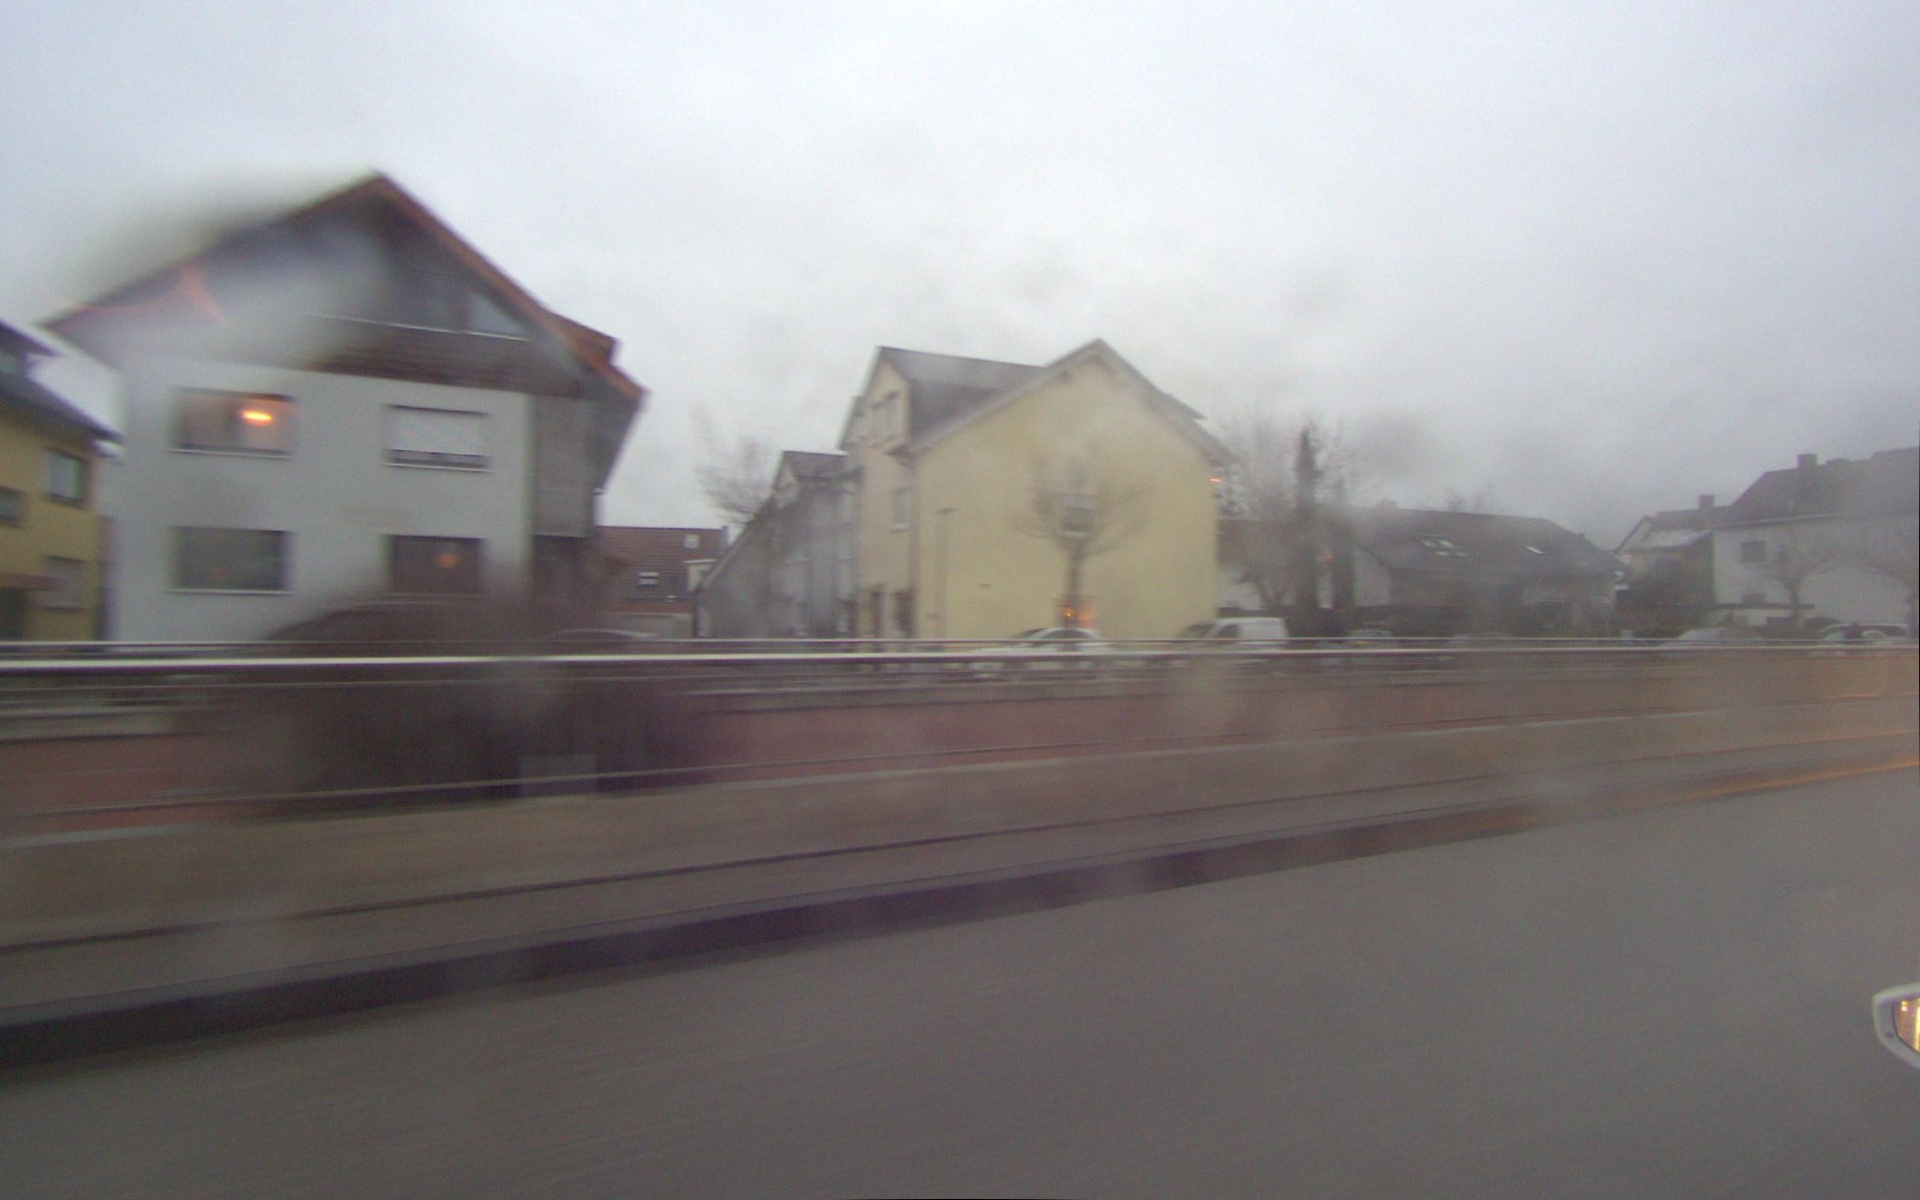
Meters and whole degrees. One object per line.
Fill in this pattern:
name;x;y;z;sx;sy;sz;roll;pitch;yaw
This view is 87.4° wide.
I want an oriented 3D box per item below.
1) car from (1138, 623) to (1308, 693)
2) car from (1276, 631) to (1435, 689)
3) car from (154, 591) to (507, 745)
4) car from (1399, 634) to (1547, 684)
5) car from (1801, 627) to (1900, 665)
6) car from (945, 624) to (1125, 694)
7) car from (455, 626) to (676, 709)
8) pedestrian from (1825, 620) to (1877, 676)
car;7.351;1.586;27.998;4.442;1.802;1.868;0;-3;-27
car;11.932;1.773;30.277;4.439;1.593;1.869;0;-3;-25
car;-8.372;0.877;13.694;3.817;1.827;1.790;2;-2;-31
car;16.451;1.868;32.213;4.439;1.452;1.869;0;-3;-25
car;35.151;1.791;39.669;3.406;1.446;1.481;1;-1;-20
car;1.900;1.463;25.396;4.169;1.619;1.868;0;-3;-27
car;-7.939;1.318;20.275;3.981;1.543;1.762;2;-2;-28
pedestrian;29.224;1.558;32.957;0.958;1.808;0.927;0;0;-18
